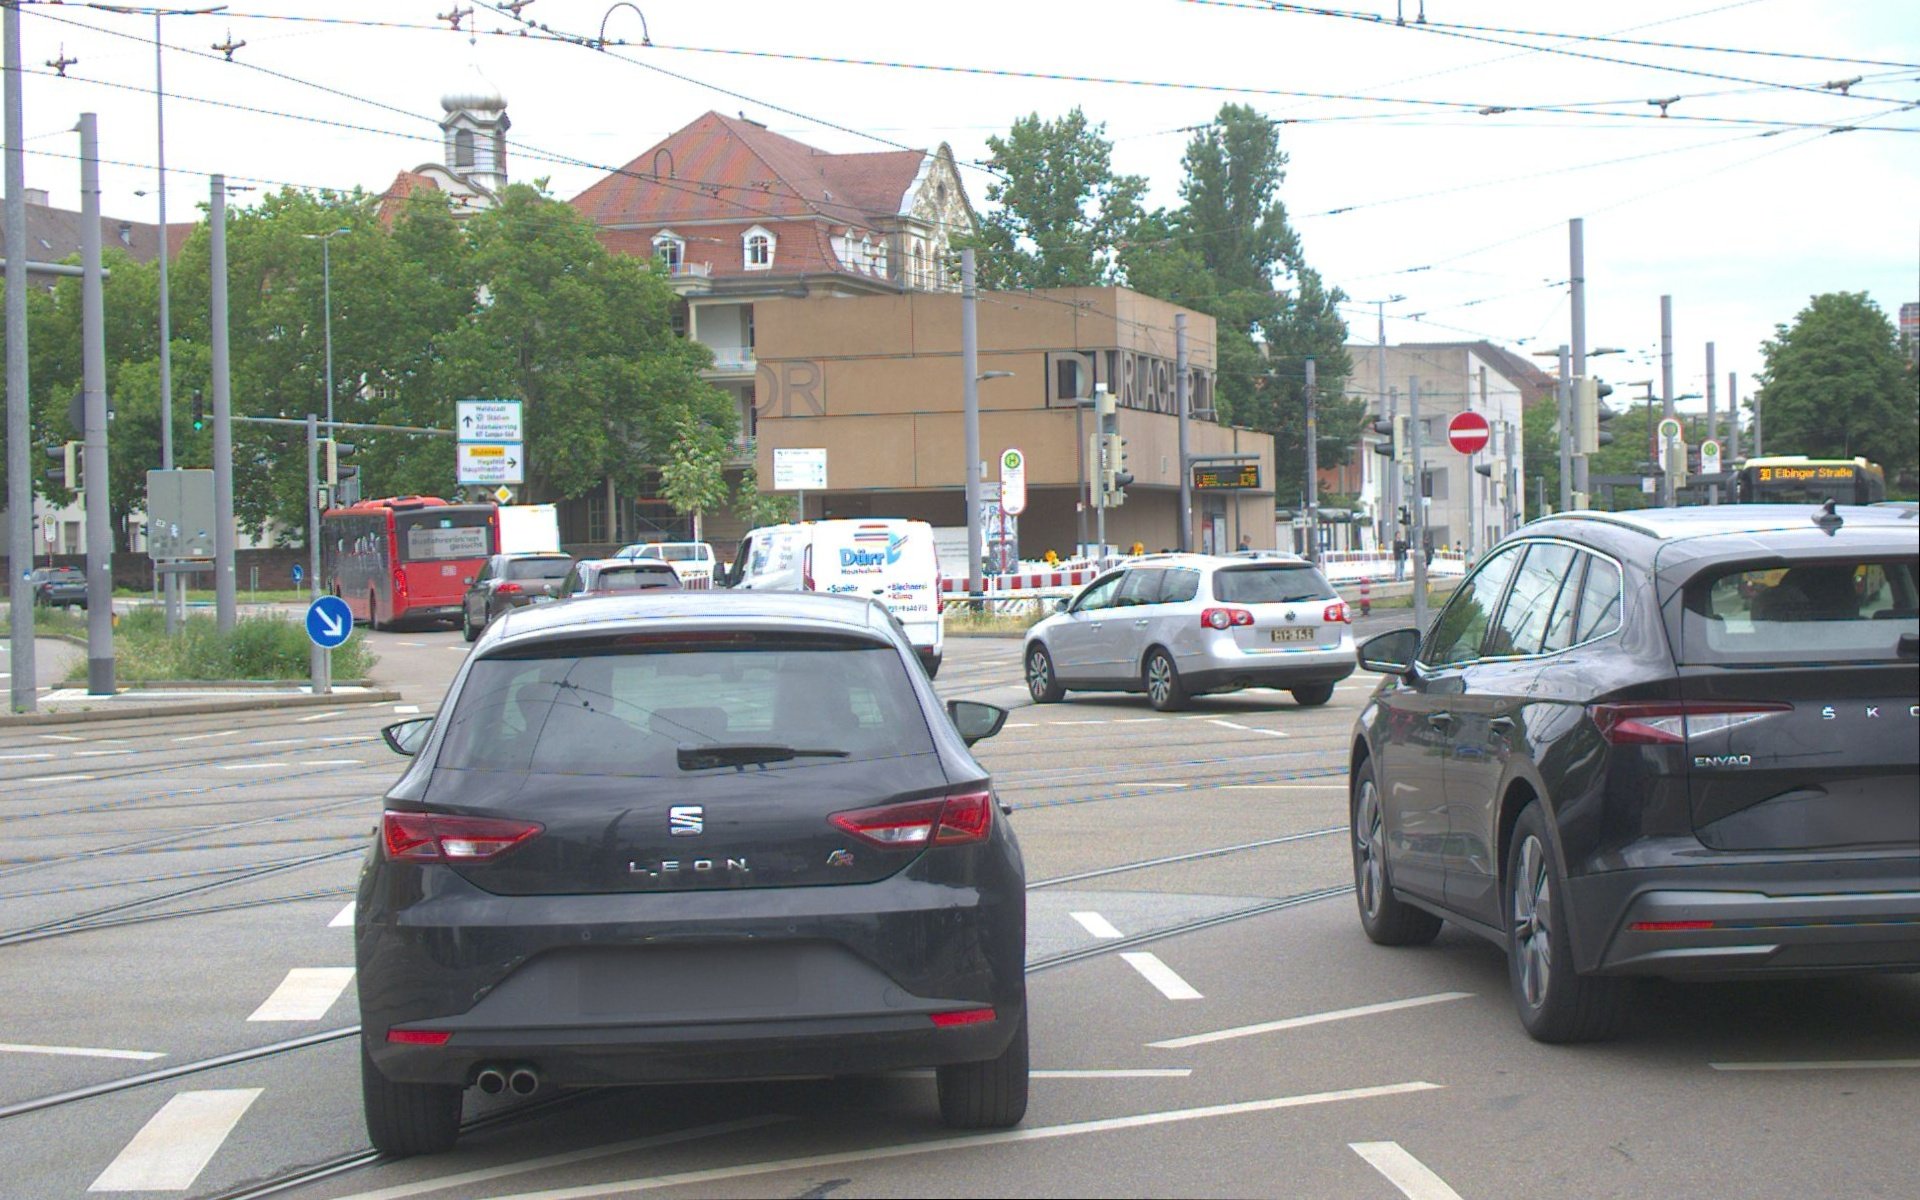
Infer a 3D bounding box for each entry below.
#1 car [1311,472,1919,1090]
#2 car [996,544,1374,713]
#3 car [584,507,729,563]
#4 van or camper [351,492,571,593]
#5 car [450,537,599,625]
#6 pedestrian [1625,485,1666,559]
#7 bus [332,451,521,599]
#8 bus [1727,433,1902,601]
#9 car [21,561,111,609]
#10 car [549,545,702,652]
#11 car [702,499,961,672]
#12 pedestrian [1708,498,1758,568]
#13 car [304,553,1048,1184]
[{"bbox_3d":[2.505,0.439,11.606,1.903,1.652,4.515,-1,1,-3],"label":"car"},{"bbox_3d":[2.115,0.239,33.753,1.720,1.477,4.629,-3,2,-23],"label":"car"},{"bbox_3d":[-11.212,-2.409,127.013,4.990,1.858,1.999,-2,-2,-40],"label":"car"},{"bbox_3d":[-17.652,-2.063,121.813,7.132,3.321,2.875,-2,0,-40],"label":"van or camper"},{"bbox_3d":[-8.293,-0.379,65.212,1.993,1.560,4.206,-2,1,-18],"label":"car"},{"bbox_3d":[16.882,-1.921,84.648,0.824,1.802,1.020,-1,1,20],"label":"pedestrian"},{"bbox_3d":[-13.047,-1.733,83.050,3.057,3.286,12.383,-1,1,-15],"label":"bus"},{"bbox_3d":[18.694,-1.783,74.581,3.018,3.256,13.033,-1,1,17],"label":"bus"},{"bbox_3d":[-30.262,-0.519,116.309,1.993,1.534,4.000,-2,1,-28],"label":"car"},{"bbox_3d":[-5.379,-0.053,54.843,1.857,1.595,4.206,-2,1,-13],"label":"car"},{"bbox_3d":[-1.707,-0.207,43.608,1.993,2.012,5.033,-2,1,-17],"label":"car"},{"bbox_3d":[18.460,-1.607,82.040,1.005,1.639,1.020,-1,1,20],"label":"pedestrian"},{"bbox_3d":[-0.807,0.606,10.154,1.745,1.459,4.001,-1,1,-4],"label":"car"}]
